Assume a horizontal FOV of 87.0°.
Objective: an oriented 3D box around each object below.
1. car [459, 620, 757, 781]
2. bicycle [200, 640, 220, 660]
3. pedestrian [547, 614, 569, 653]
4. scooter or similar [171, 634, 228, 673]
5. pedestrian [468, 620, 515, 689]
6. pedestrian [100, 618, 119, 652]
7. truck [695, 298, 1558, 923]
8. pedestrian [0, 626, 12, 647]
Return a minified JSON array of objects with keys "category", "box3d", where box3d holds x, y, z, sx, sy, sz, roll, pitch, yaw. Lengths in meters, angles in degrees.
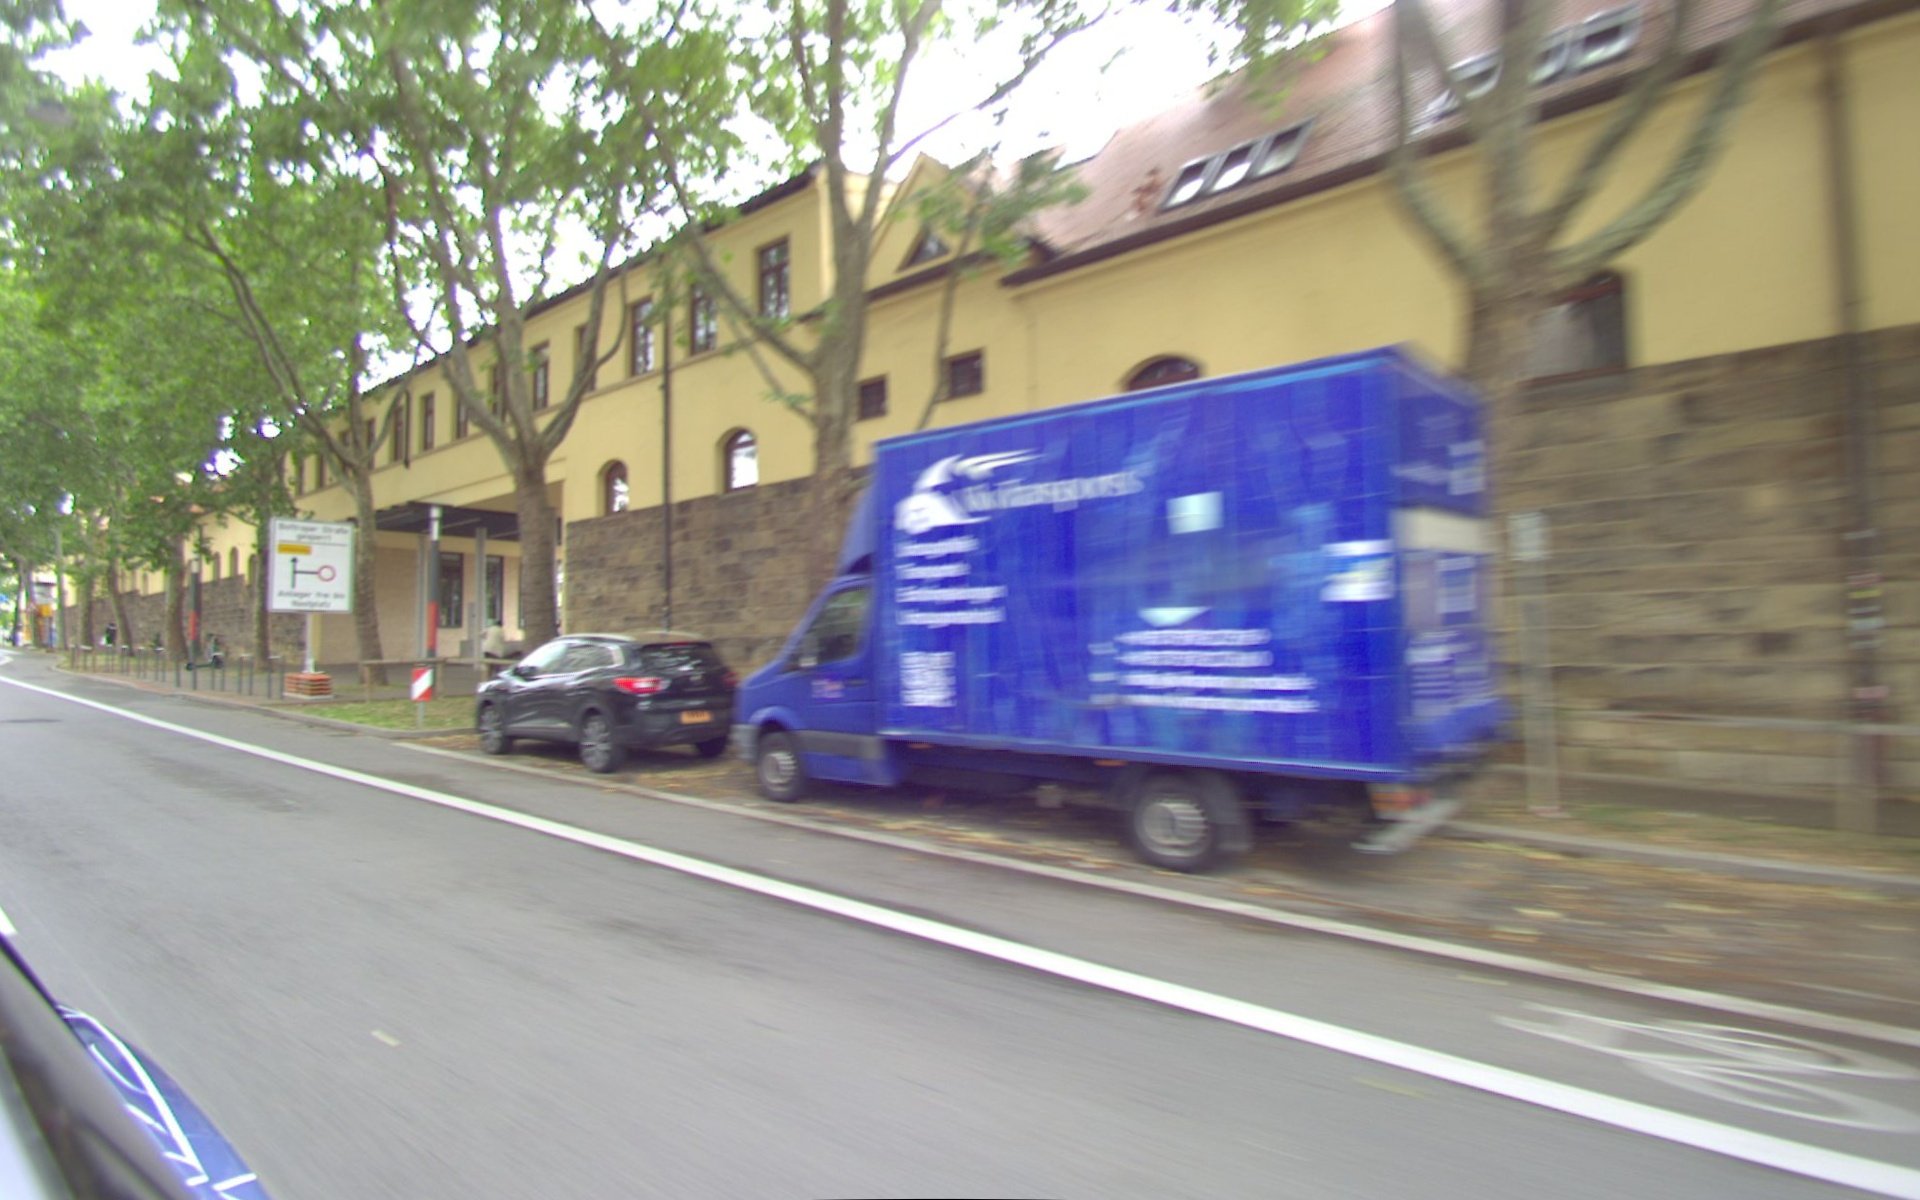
[{"category":"car","box3d":[-4.643,1.133,13.061,4.249,1.702,1.714,-1,0,40]},{"category":"bicycle","box3d":[-32.975,2.211,44.502,1.775,0.852,0.332,-1,-2,41]},{"category":"pedestrian","box3d":[-15.779,1.317,39.723,0.760,1.500,0.567,0,0,43]},{"category":"scooter or similar","box3d":[-26.061,1.827,34.698,0.443,1.249,1.611,-1,-1,18]},{"category":"pedestrian","box3d":[-11.935,1.371,25.770,0.851,1.700,0.928,0,-1,-40]},{"category":"pedestrian","box3d":[-47.750,1.987,56.827,0.816,1.890,0.664,-2,-3,42]},{"category":"truck","box3d":[0.801,0.105,8.758,7.241,3.442,2.193,-1,-1,40]},{"category":"pedestrian","box3d":[-75.394,2.897,79.983,0.549,1.675,0.617,-1,0,43]}]
